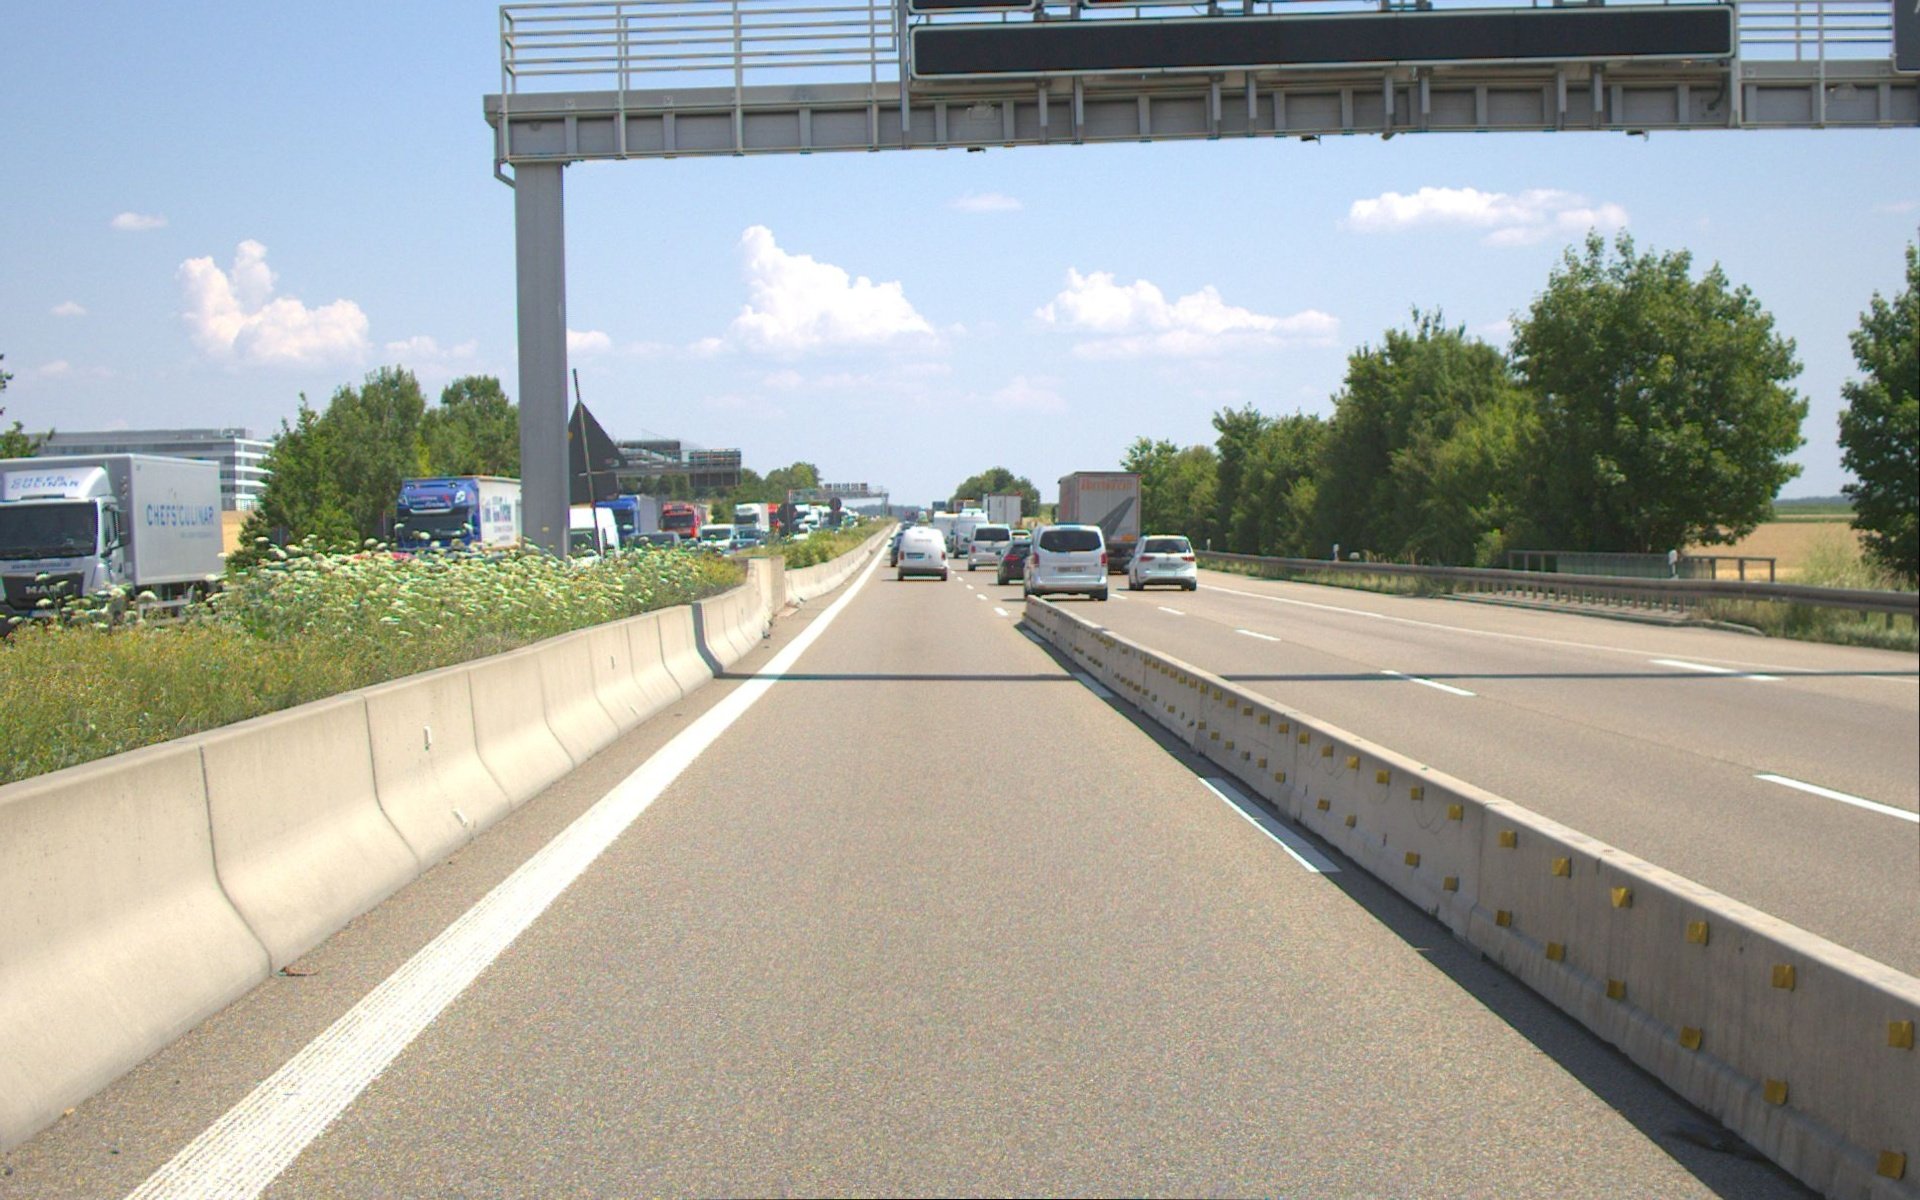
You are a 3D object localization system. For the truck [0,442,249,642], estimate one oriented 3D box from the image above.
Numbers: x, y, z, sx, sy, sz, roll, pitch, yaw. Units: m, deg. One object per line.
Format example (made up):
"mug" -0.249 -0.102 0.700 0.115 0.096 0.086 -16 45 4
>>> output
"truck" -16.486 -1.180 68.278 2.699 3.608 8.787 -2 1 0

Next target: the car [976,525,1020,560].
"car" 1.606 -2.452 147.278 1.773 1.442 4.000 0 0 -1

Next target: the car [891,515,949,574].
"car" -1.402 -1.936 121.236 1.993 2.007 4.000 0 0 -1

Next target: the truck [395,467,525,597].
"truck" -17.716 -2.420 122.845 2.592 4.224 14.124 -3 1 -1

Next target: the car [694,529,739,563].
"car" -14.778 -3.282 209.152 2.185 2.007 5.763 -1 1 1

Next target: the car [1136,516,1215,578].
"car" 6.350 -1.552 101.671 1.993 1.788 4.000 0 0 -1

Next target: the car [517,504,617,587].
"car" -9.645 -1.338 84.749 1.993 1.939 4.795 -1 1 -1

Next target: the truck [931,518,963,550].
"truck" -0.859 -4.319 225.402 1.993 2.007 4.000 -1 1 -1

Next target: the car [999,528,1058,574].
"car" 2.210 -1.590 111.764 1.773 1.442 4.000 0 0 -1

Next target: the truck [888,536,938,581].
"truck" -2.236 -1.973 160.930 2.211 2.007 4.972 -1 1 -2

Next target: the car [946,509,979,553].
"car" 0.132 -3.894 194.446 1.773 2.384 4.000 0 0 -1

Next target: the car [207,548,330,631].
"car" -12.676 -0.213 63.189 1.559 1.437 3.838 -1 1 -2

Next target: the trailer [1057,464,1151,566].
"trailer" 5.753 -3.368 138.912 3.277 3.953 9.113 0 0 -1

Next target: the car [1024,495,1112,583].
"car" 2.644 -1.492 85.169 1.993 2.112 4.000 0 0 -1

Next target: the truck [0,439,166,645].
"truck" -16.488 -1.055 63.142 2.698 3.575 4.000 -2 1 0

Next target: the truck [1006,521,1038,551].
"truck" 4.148 -4.281 230.208 1.993 2.007 4.000 -1 1 -1

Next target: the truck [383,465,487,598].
"truck" -17.604 -2.296 115.475 2.592 4.224 4.855 -3 1 -1

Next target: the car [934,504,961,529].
"car" -0.976 -6.333 261.650 1.993 1.829 4.000 0 1 -1

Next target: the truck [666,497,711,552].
"truck" -19.444 -5.420 246.565 2.856 3.842 4.000 -2 1 -1

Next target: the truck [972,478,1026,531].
"truck" 2.952 -7.277 263.129 3.815 3.891 9.581 -1 1 -1
